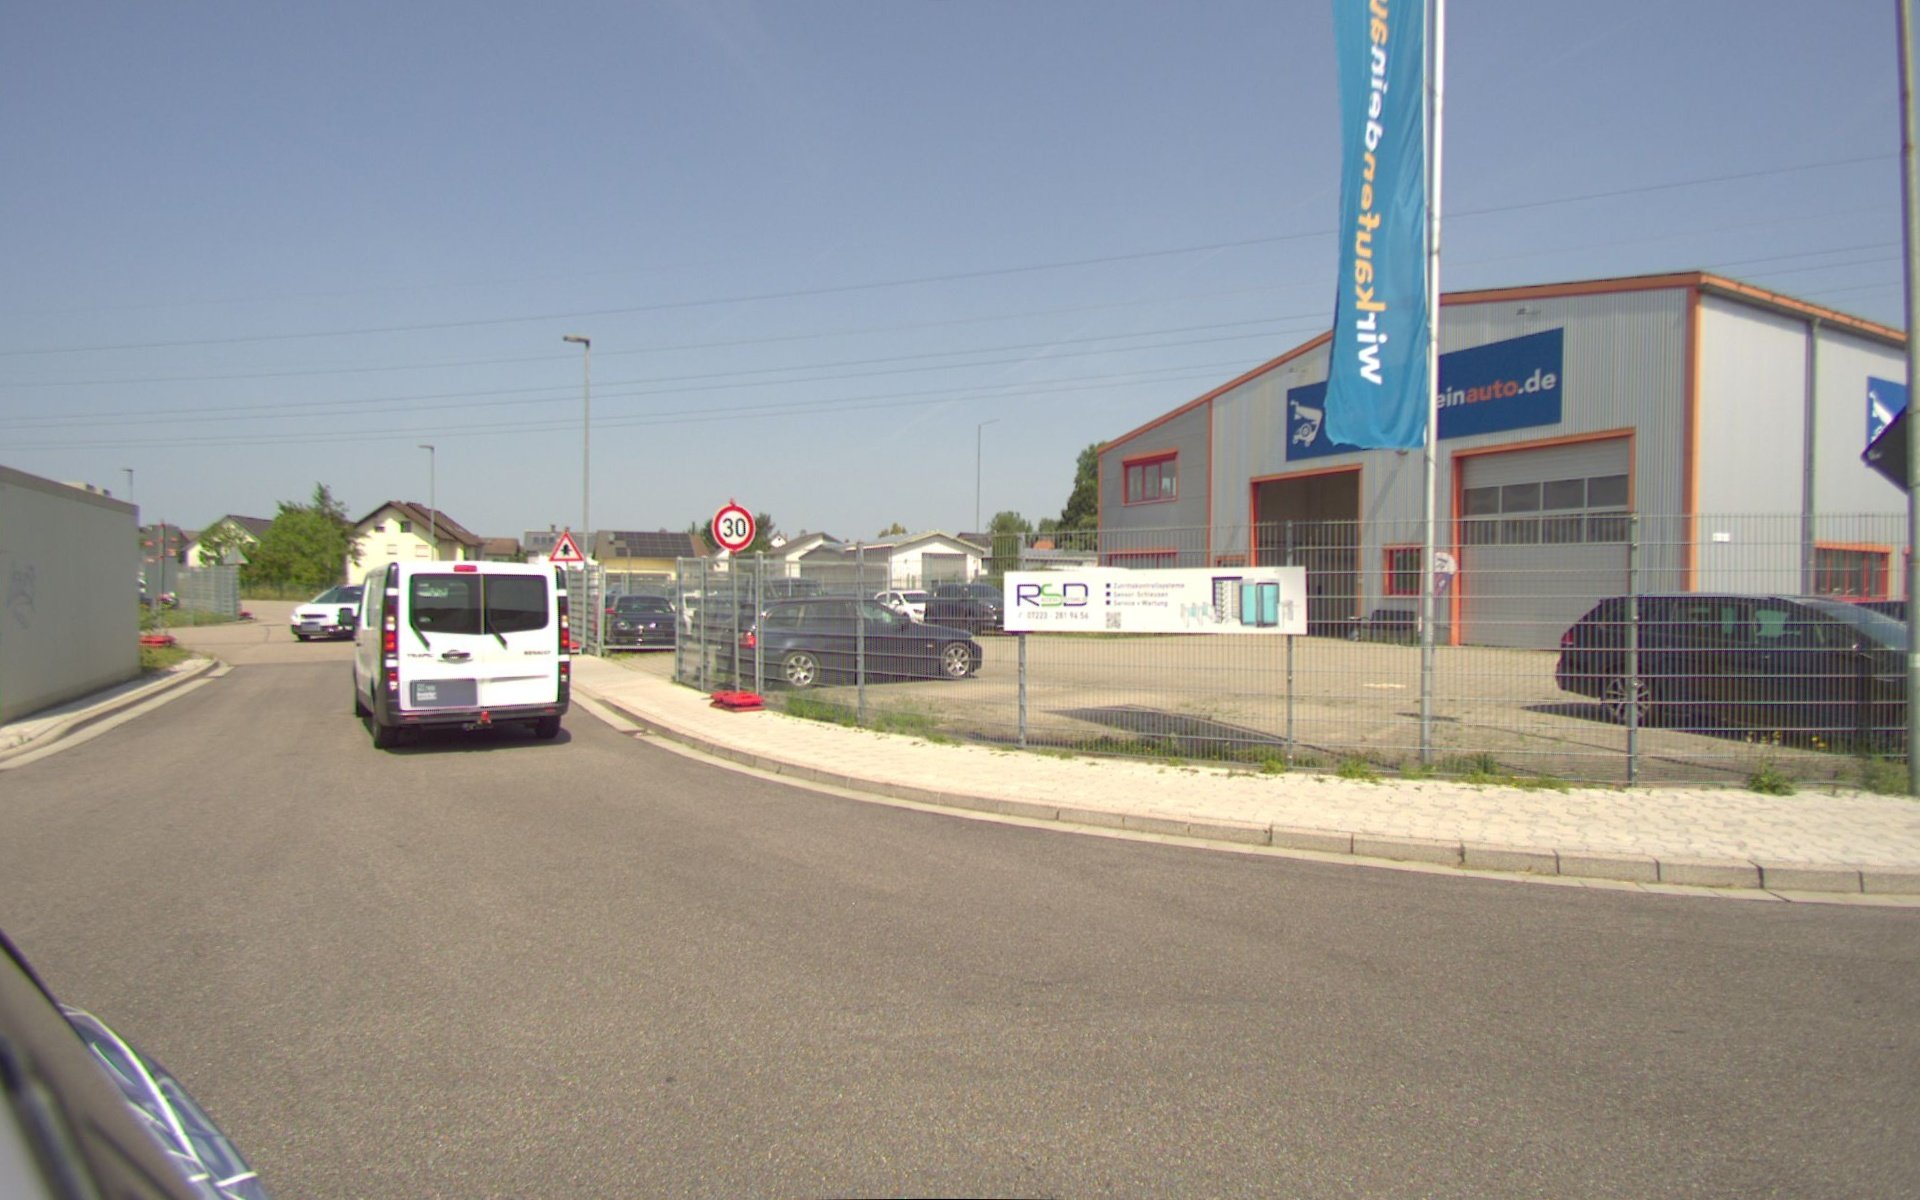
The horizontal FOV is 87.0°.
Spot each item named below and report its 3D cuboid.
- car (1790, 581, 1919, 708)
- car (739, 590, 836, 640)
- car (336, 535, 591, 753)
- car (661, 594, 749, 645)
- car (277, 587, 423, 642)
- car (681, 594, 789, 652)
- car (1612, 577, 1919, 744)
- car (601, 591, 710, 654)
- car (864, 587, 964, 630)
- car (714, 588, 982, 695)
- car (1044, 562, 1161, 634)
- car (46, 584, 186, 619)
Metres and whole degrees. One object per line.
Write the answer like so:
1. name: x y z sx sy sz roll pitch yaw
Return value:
1. car: 12.632 0.522 11.973 1.745 1.514 4.010 -1 0 -34
2. car: -5.805 0.475 33.750 1.745 1.514 4.011 -1 0 -32
3. car: -6.157 0.482 12.196 1.976 2.076 4.825 1 -2 -36
4. car: -8.286 0.582 32.614 1.744 1.514 4.012 -1 0 -29
5. car: -17.872 0.384 29.894 1.751 1.514 4.160 0 0 1
6. car: -6.402 0.609 28.513 1.745 1.514 3.821 -1 0 -32
7. car: 9.147 0.543 10.164 1.745 1.514 4.012 -1 0 -30
8. car: -8.182 0.556 26.960 1.745 1.514 4.011 -1 0 -32
9. car: -1.708 0.300 36.327 1.866 1.431 4.213 -1 0 -30
10. car: -1.799 0.596 16.415 3.931 1.514 1.781 -1 0 -28
11. car: 4.584 -0.065 33.239 1.965 2.212 4.336 -1 0 -20
12. car: -35.992 0.038 43.264 4.505 1.438 2.003 -1 0 -41
